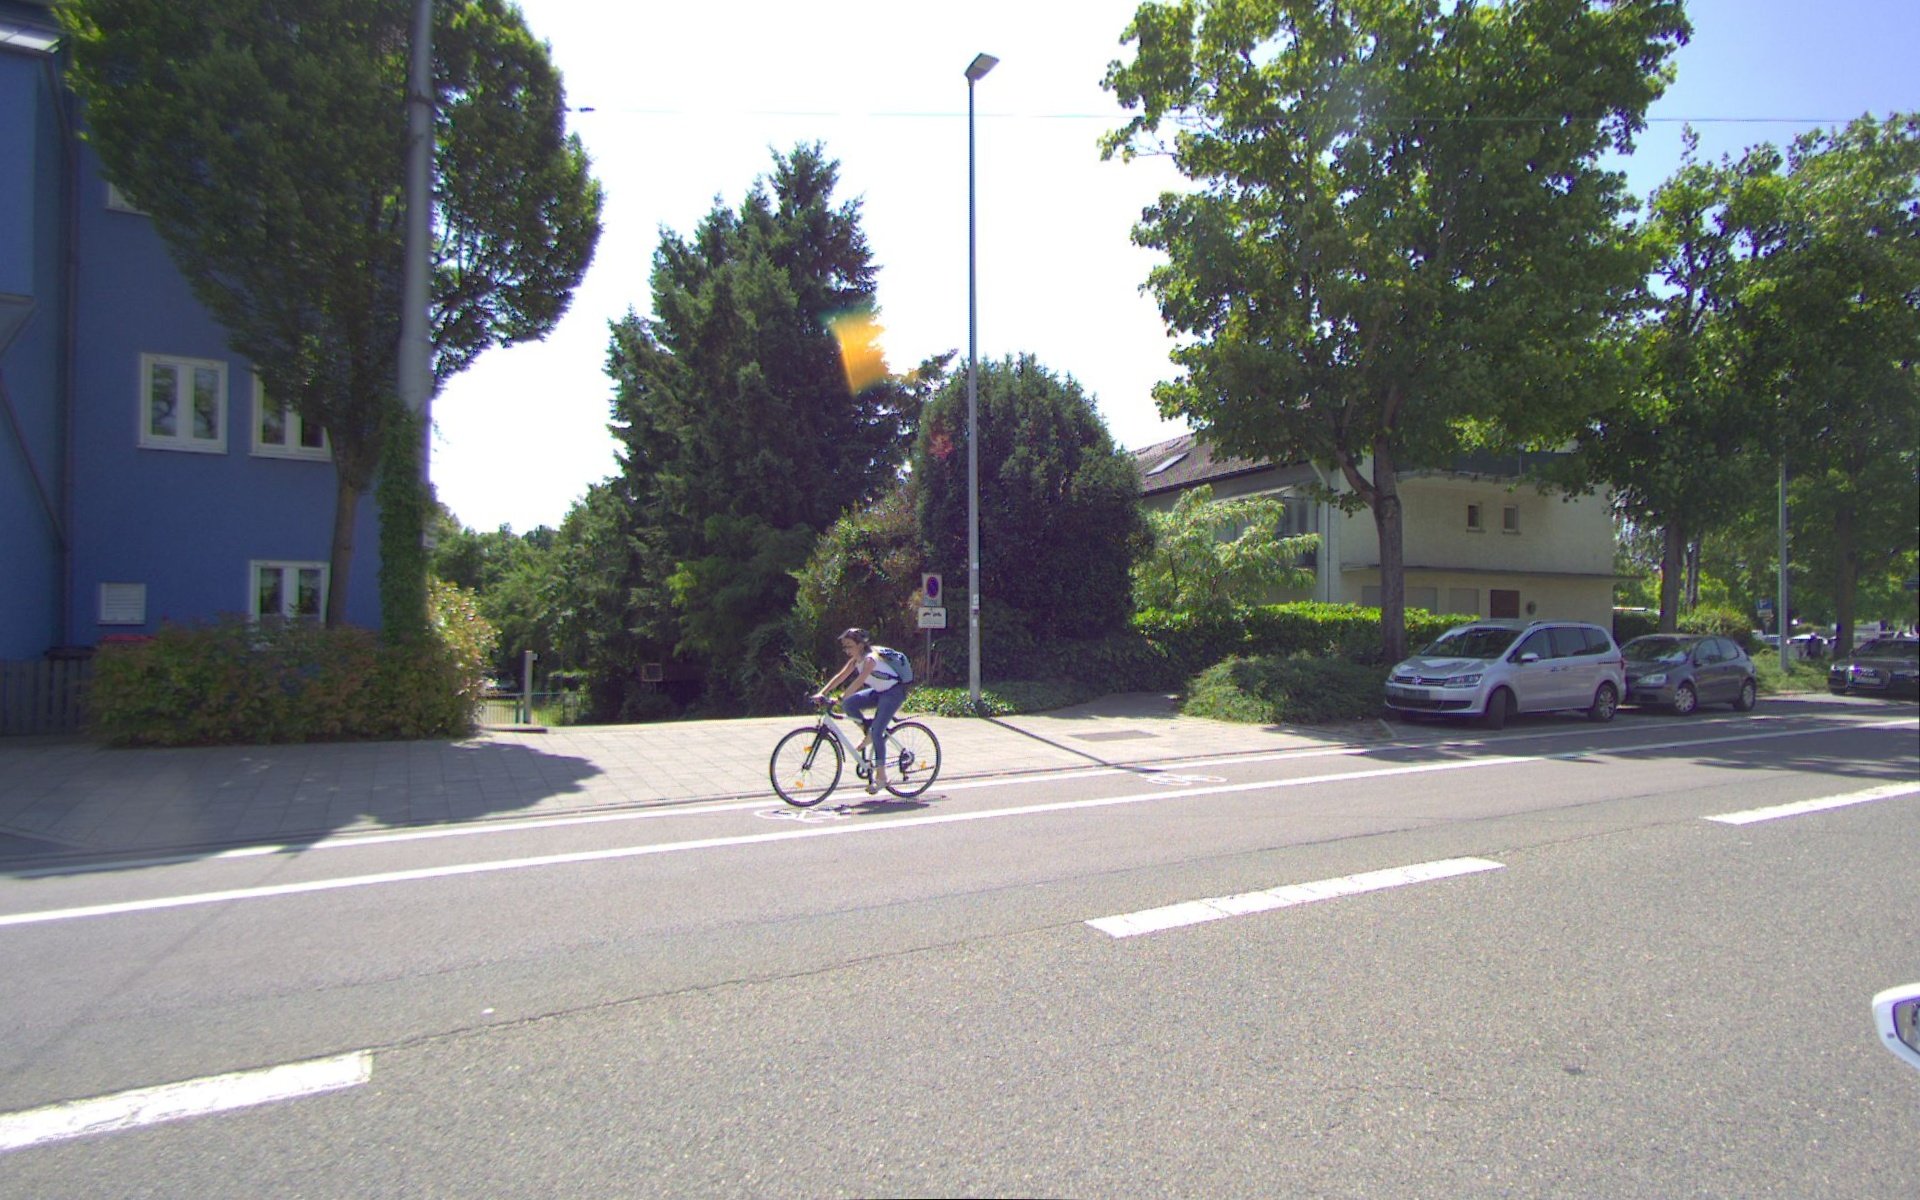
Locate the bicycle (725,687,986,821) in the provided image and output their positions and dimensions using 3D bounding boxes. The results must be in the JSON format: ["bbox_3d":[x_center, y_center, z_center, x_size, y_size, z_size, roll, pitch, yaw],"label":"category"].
[{"bbox_3d":[-0.883,1.296,8.879,2.219,0.963,0.698,1,-3,-33],"label":"bicycle"}]

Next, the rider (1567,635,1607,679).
[{"bbox_3d":[20.587,1.861,32.989,0.800,1.392,0.824,1,-1,-21],"label":"rider"}]

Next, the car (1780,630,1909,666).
[{"bbox_3d":[42.701,2.283,48.585,1.891,1.606,4.321,1,-2,-31],"label":"car"}]

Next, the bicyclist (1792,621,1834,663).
[{"bbox_3d":[29.275,1.434,34.481,0.817,1.392,0.806,2,0,-27],"label":"bicyclist"}]

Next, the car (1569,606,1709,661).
[{"bbox_3d":[42.069,2.014,62.449,2.337,3.005,6.817,2,0,-30],"label":"car"}]

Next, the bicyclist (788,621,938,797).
[{"bbox_3d":[-0.861,0.936,8.909,1.113,1.449,0.731,1,-4,-33],"label":"bicyclist"}]

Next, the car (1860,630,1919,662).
[{"bbox_3d":[49.623,2.364,51.848,1.885,1.606,4.334,1,-2,-23],"label":"car"}]

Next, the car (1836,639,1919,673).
[{"bbox_3d":[47.239,2.795,50.594,1.886,1.606,4.333,1,-2,-23],"label":"car"}]

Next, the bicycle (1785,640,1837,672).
[{"bbox_3d":[29.237,1.919,34.491,1.805,1.043,0.698,2,0,-27],"label":"bicycle"}]

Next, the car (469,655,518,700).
[{"bbox_3d":[-24.844,4.080,53.413,1.977,2.040,3.968,2,0,-30],"label":"car"}]

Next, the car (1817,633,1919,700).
[{"bbox_3d":[23.755,1.632,25.418,4.397,1.496,1.810,1,0,-31],"label":"car"}]

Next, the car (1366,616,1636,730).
[{"bbox_3d":[9.210,1.137,17.005,4.725,1.687,1.864,1,-1,-30],"label":"car"}]

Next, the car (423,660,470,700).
[{"bbox_3d":[-26.899,4.146,52.545,1.977,1.740,3.968,2,0,-30],"label":"car"}]

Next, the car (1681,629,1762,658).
[{"bbox_3d":[50.783,2.862,67.074,1.799,1.675,3.957,2,0,-37],"label":"car"}]

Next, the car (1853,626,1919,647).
[{"bbox_3d":[79.720,3.129,86.390,1.795,1.638,4.000,2,0,-30],"label":"car"}]

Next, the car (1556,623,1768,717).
[{"bbox_3d":[13.694,1.295,19.559,4.132,1.585,1.810,1,0,-30],"label":"car"}]
